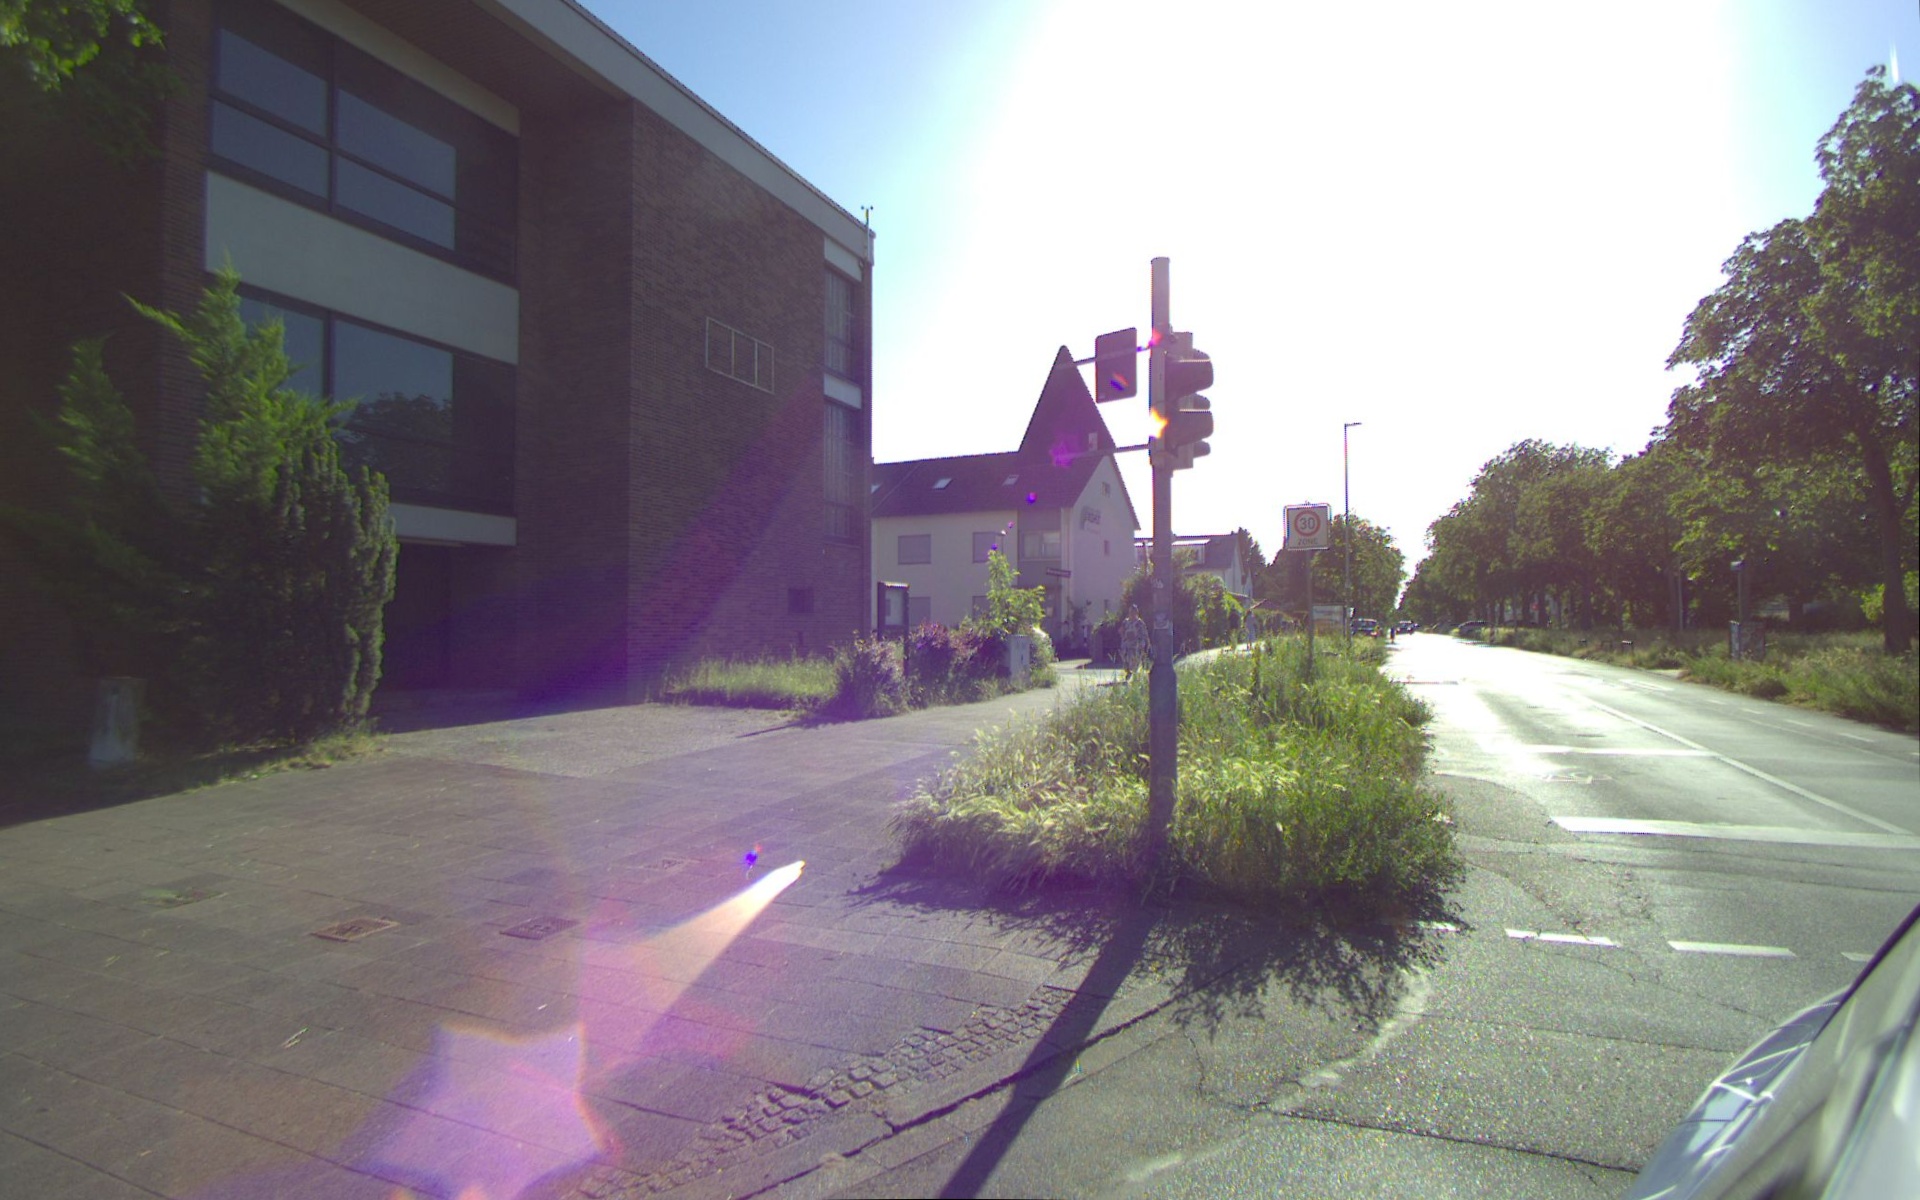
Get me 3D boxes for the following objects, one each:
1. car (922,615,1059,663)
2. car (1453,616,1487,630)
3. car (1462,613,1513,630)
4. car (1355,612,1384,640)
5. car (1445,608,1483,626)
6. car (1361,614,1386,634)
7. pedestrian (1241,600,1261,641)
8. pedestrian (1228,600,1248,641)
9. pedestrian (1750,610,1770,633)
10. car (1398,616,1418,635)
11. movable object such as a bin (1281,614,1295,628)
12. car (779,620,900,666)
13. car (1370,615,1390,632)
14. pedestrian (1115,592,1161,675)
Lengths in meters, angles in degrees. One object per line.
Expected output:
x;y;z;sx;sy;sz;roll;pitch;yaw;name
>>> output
1.004;1.292;33.370;4.162;1.522;1.790;-1;-3;25;car
69.819;3.141;138.572;3.954;1.772;1.876;-2;-1;23;car
50.353;2.061;96.756;4.162;1.581;1.983;-2;-2;25;car
24.161;1.517;59.698;1.481;1.594;3.571;-2;-2;23;car
76.509;2.544;153.607;5.075;2.645;2.105;-2;-2;27;car
34.702;2.014;84.930;1.717;1.597;3.822;0;-1;26;car
12.396;0.865;43.060;0.553;1.755;0.651;-3;-2;40;pedestrian
11.934;0.870;43.446;0.604;1.755;0.630;-3;-2;40;pedestrian
42.263;1.113;53.482;0.632;1.172;0.518;-5;-3;23;pedestrian
50.828;2.886;114.885;1.978;2.039;3.967;-2;-1;24;car
31.472;2.050;97.146;1.159;1.310;0.921;0;-1;23;movable object such as a bin
-4.222;1.512;35.482;3.912;1.522;1.790;-1;-3;25;car
39.044;2.193;94.048;1.714;1.501;3.826;0;-2;23;car
4.087;0.769;23.247;0.890;1.845;0.732;-2;-2;19;pedestrian
